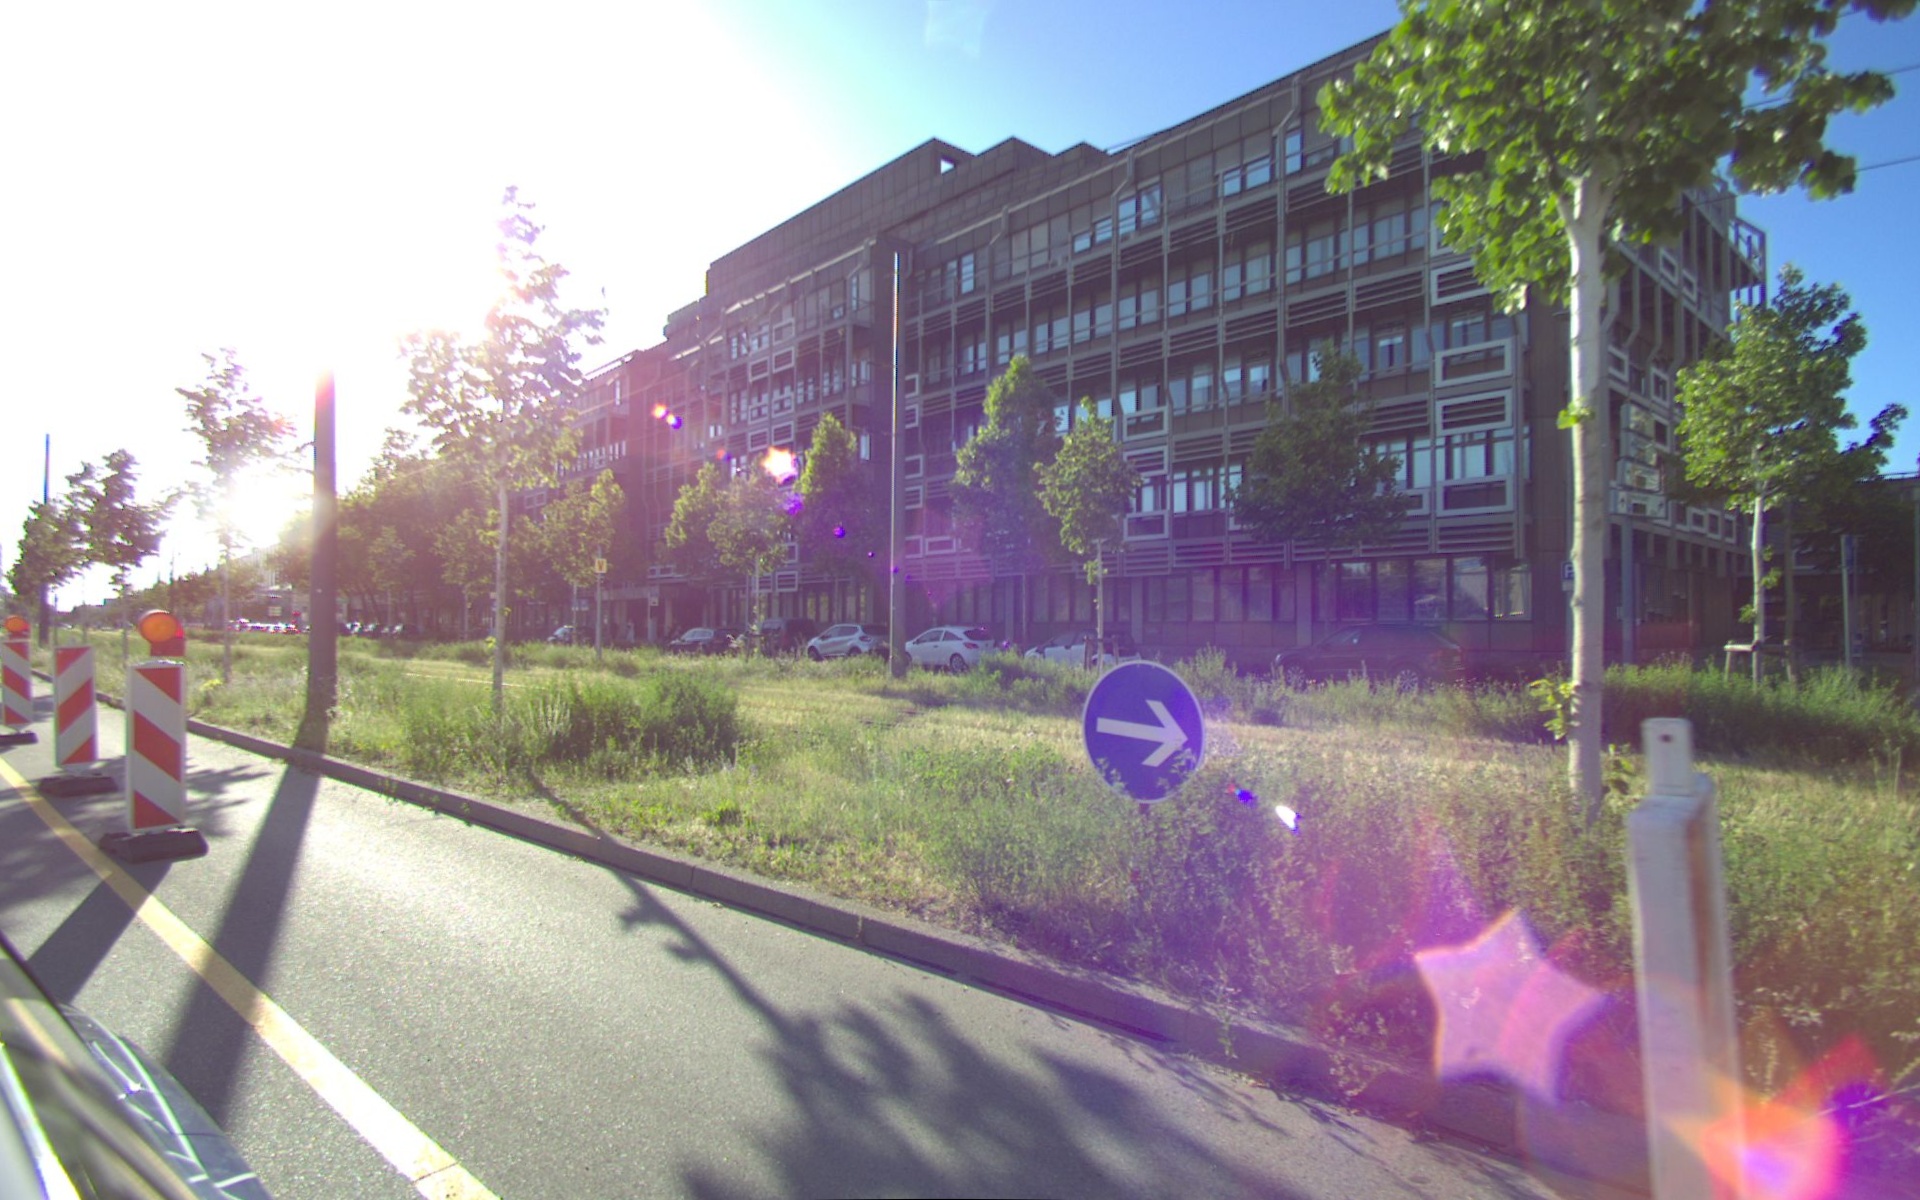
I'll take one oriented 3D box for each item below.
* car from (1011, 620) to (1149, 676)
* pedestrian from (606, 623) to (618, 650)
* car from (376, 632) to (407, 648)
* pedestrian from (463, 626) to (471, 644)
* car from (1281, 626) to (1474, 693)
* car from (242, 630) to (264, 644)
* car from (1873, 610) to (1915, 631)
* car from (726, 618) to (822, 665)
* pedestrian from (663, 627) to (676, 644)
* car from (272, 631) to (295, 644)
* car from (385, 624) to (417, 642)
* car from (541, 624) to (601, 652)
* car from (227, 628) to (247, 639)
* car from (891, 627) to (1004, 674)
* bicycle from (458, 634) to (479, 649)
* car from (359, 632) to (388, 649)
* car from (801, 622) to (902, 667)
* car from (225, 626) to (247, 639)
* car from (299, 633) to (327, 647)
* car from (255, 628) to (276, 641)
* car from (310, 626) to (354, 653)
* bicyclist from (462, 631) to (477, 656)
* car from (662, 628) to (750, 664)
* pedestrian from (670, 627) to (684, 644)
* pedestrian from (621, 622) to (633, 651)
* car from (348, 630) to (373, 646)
[{"bbox_3d":[3.531,1.399,30.224,1.630,1.566,3.970,1,-2,-43],"label":"car"},{"bbox_3d":[-20.755,2.154,60.322,0.514,1.590,0.537,2,-3,-40],"label":"pedestrian"},{"bbox_3d":[-55.479,3.919,98.803,3.632,1.497,1.702,-1,-2,44],"label":"car"},{"bbox_3d":[-48.448,3.404,99.414,0.476,1.763,0.639,2,-3,-42],"label":"pedestrian"},{"bbox_3d":[9.895,1.361,24.120,3.900,1.472,1.711,-2,-2,43],"label":"car"},{"bbox_3d":[-78.841,4.096,112.823,1.608,1.507,3.784,2,-3,-42],"label":"car"},{"bbox_3d":[73.034,1.635,79.164,1.853,1.586,3.953,-1,-2,35],"label":"car"},{"bbox_3d":[-7.637,1.661,41.286,1.730,1.785,4.334,0,-1,-44],"label":"car"},{"bbox_3d":[-17.816,2.171,62.082,0.609,0.993,0.499,2,-3,-41],"label":"pedestrian"},{"bbox_3d":[-76.774,4.227,114.828,1.608,1.507,4.422,2,-3,-42],"label":"car"},{"bbox_3d":[-51.929,3.049,94.065,1.702,1.555,3.634,-1,-1,-44],"label":"car"},{"bbox_3d":[-21.667,2.087,56.290,1.696,1.397,4.043,-2,0,-43],"label":"car"},{"bbox_3d":[-86.921,4.015,121.627,1.532,1.390,3.784,2,-3,-42],"label":"car"},{"bbox_3d":[-0.454,1.642,33.858,1.605,1.452,3.822,0,-1,-44],"label":"car"},{"bbox_3d":[-29.821,2.513,61.384,0.558,0.884,1.772,3,-3,-45],"label":"bicycle"},{"bbox_3d":[-59.530,4.093,102.705,1.702,1.614,3.634,-1,-1,-44],"label":"car"},{"bbox_3d":[-4.072,1.635,37.690,1.717,1.548,3.887,0,-2,-44],"label":"car"},{"bbox_3d":[-92.018,4.117,128.603,1.838,1.694,3.784,2,-3,-42],"label":"car"},{"bbox_3d":[-64.842,4.000,101.360,1.695,1.398,4.043,2,-3,-43],"label":"car"},{"bbox_3d":[-82.513,4.048,120.203,1.608,1.507,3.784,2,-3,-42],"label":"car"},{"bbox_3d":[-43.851,2.737,70.611,4.123,1.760,1.708,-2,-2,44],"label":"car"},{"bbox_3d":[-29.655,2.623,61.203,0.558,1.468,0.706,3,-4,-45],"label":"bicyclist"},{"bbox_3d":[-11.371,2.020,45.105,1.709,1.480,4.507,-1,-1,-45],"label":"car"},{"bbox_3d":[-17.125,2.159,61.255,0.609,0.993,0.499,2,-3,-41],"label":"pedestrian"},{"bbox_3d":[-19.998,2.190,60.782,0.514,1.735,0.537,2,-3,-40],"label":"pedestrian"},{"bbox_3d":[-63.054,3.974,106.426,1.489,1.614,3.530,-1,-1,-44],"label":"car"}]
